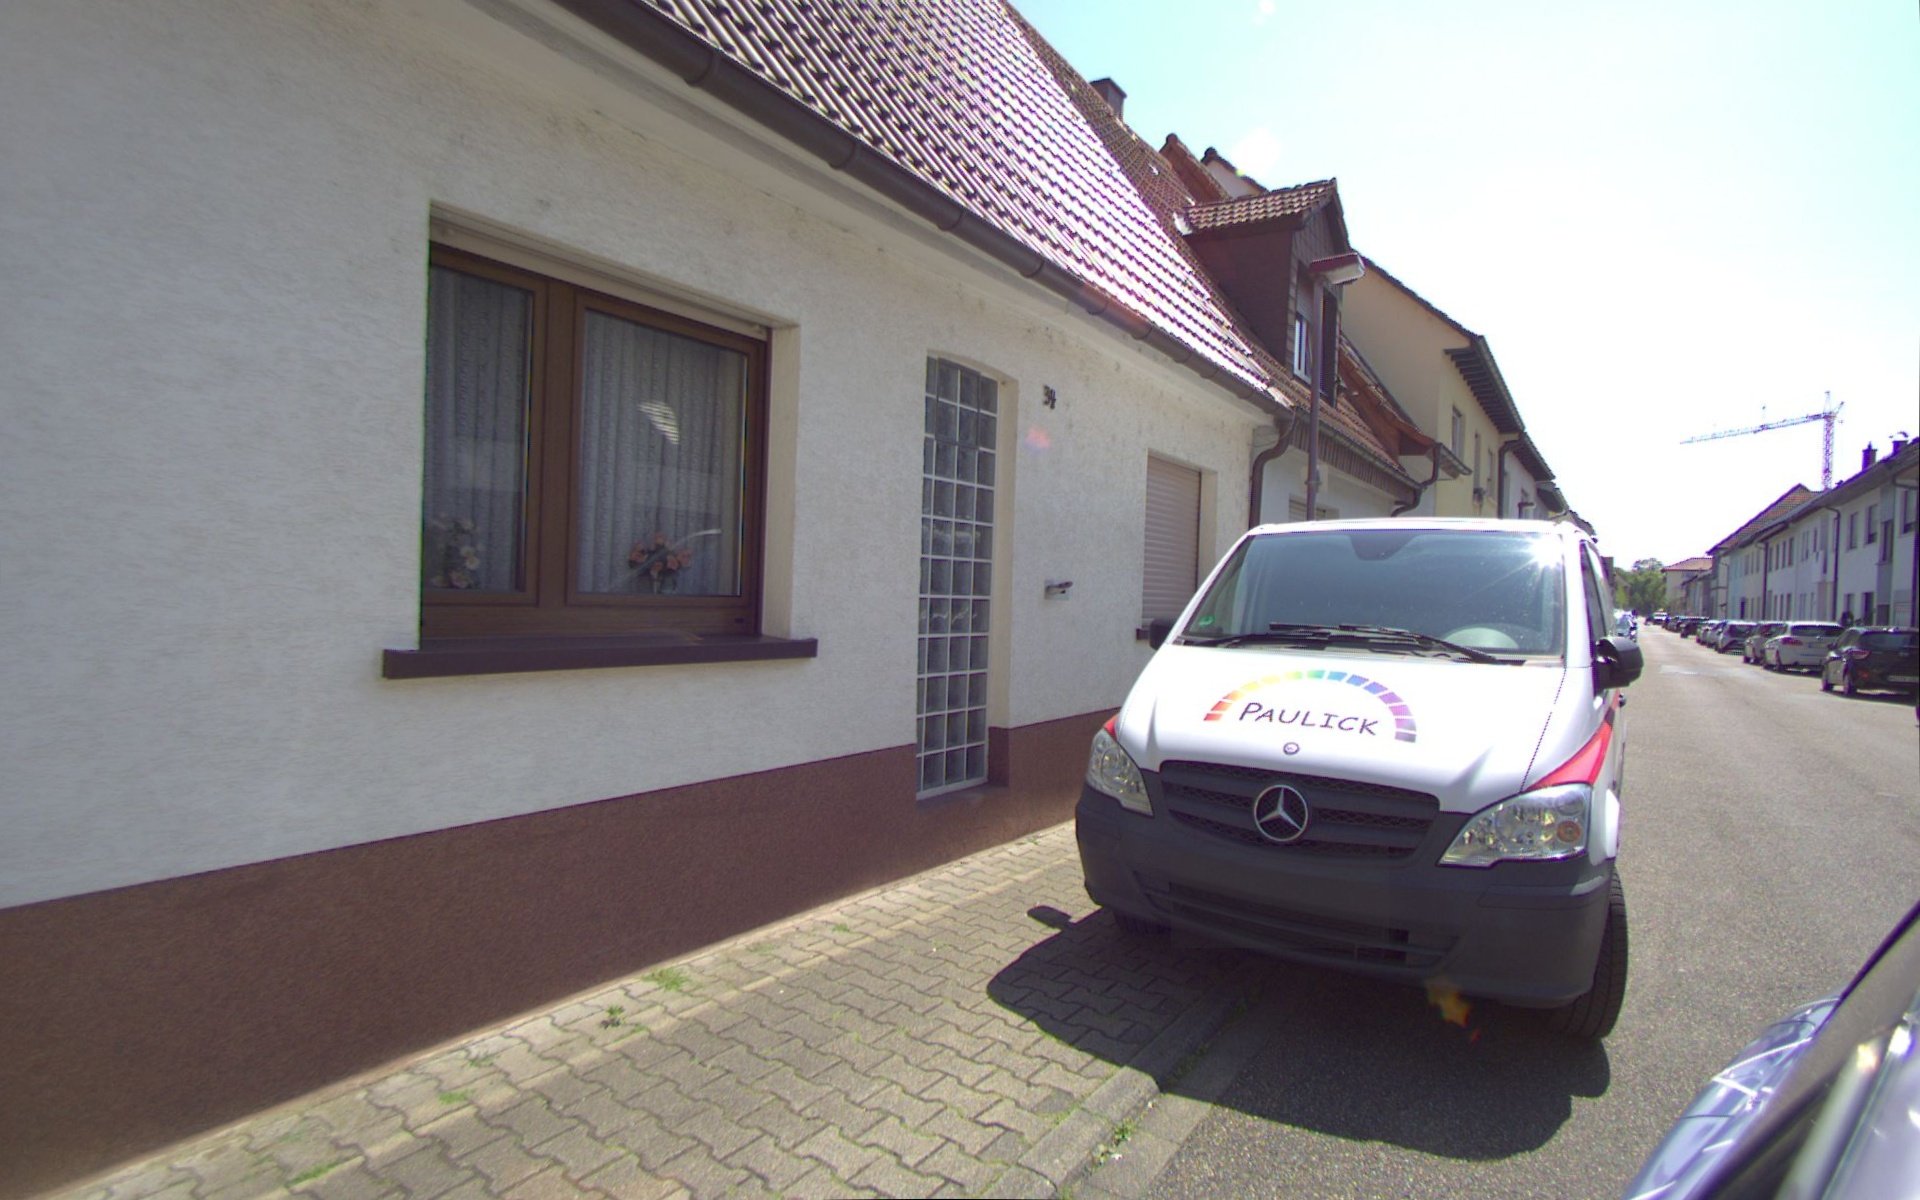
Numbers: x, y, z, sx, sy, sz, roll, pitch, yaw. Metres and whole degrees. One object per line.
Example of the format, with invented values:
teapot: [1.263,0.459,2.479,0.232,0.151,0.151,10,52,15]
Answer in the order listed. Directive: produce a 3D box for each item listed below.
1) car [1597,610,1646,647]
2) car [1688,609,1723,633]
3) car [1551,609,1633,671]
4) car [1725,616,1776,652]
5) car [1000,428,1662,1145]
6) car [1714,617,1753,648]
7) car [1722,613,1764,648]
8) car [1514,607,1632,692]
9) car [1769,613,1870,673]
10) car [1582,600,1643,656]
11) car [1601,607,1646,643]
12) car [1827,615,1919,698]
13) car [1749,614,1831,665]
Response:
car: [28.908,1.219,44.231,1.656,1.432,4.196,4,2,34]
car: [56.137,1.530,76.255,1.808,1.627,3.840,4,2,34]
car: [16.674,0.996,26.689,1.690,1.453,4.054,1,0,33]
car: [35.600,1.506,45.632,1.598,1.460,3.172,4,1,35]
car: [2.430,0.475,5.367,2.006,1.862,5.200,1,0,34]
car: [41.115,1.683,53.824,1.407,1.473,3.418,4,2,35]
car: [38.319,1.462,49.566,1.407,1.547,2.987,4,2,35]
car: [12.476,0.904,20.526,1.831,1.466,4.719,1,0,33]
car: [25.888,1.243,30.616,1.655,1.568,3.898,3,2,31]
car: [23.021,0.926,35.740,1.690,1.799,4.150,2,1,33]
car: [31.840,1.176,48.606,1.672,1.604,3.916,2,1,32]
car: [19.905,1.156,21.516,1.634,1.556,3.896,4,2,33]
car: [28.746,1.325,35.156,1.655,1.561,3.647,2,1,31]
